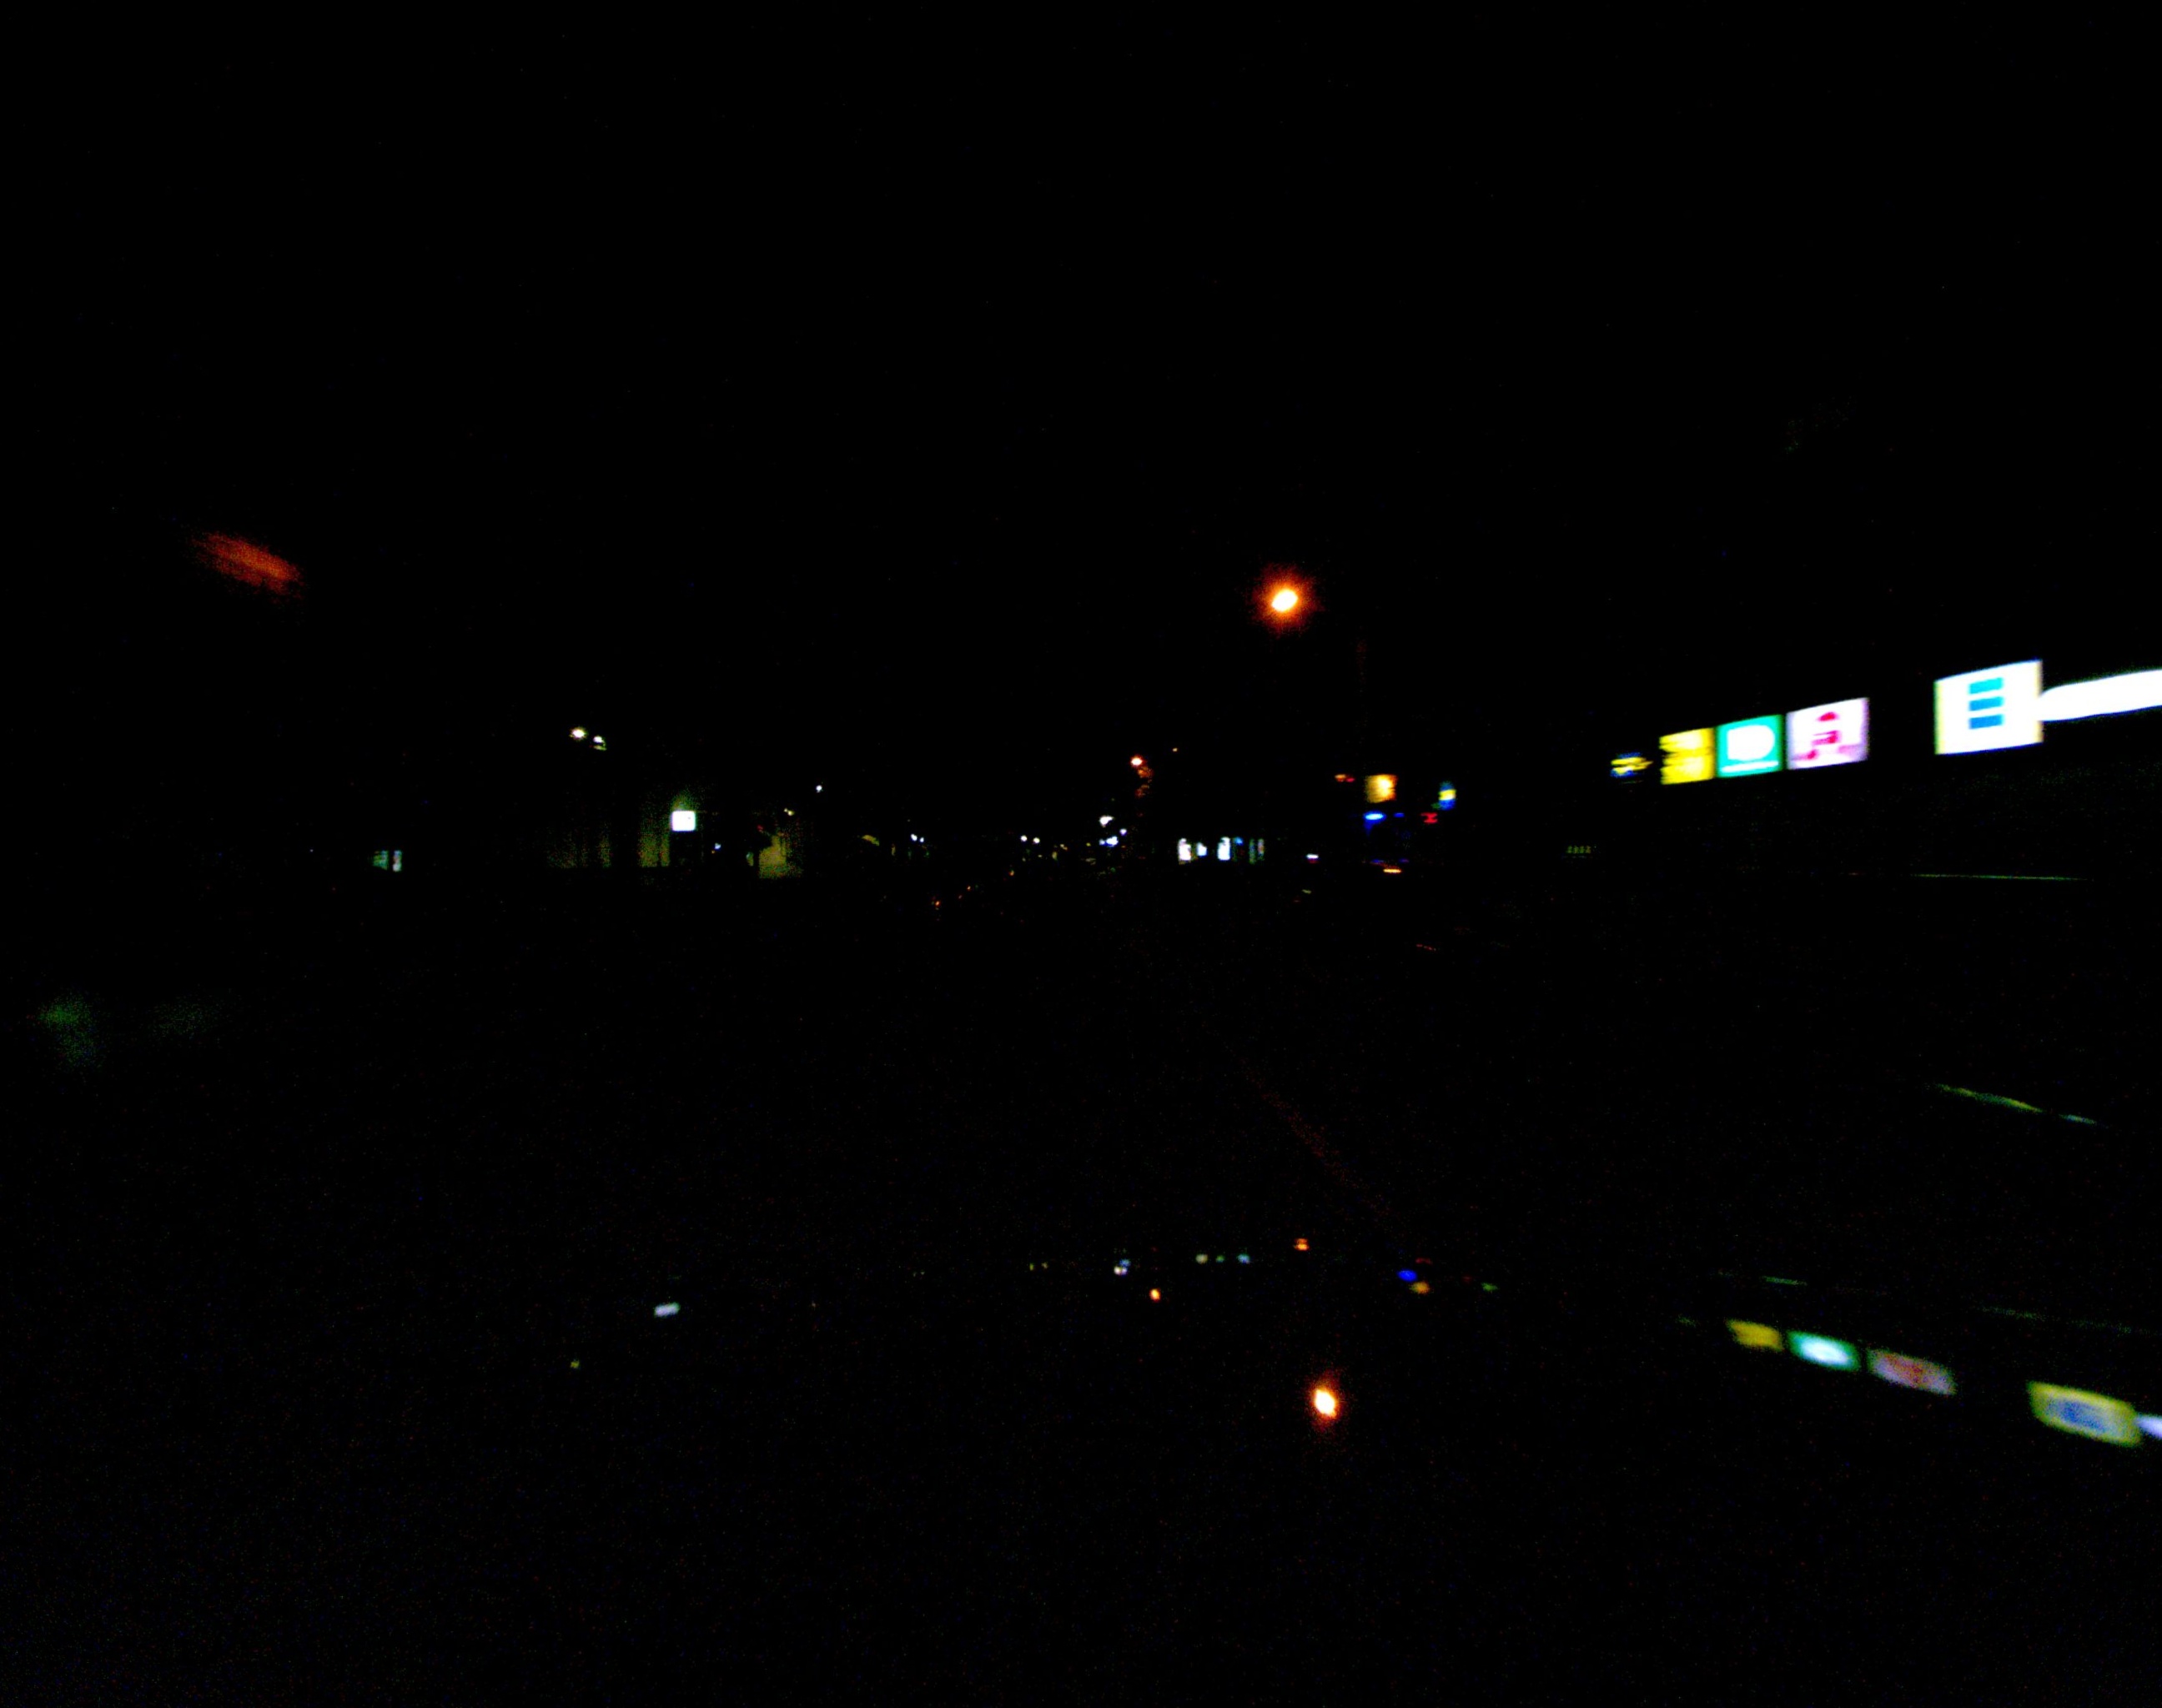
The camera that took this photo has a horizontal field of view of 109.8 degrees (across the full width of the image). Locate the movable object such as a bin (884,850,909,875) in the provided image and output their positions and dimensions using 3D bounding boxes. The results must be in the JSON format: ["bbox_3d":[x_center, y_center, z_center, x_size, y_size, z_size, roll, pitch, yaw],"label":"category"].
[{"bbox_3d":[-10.448,0.461,43.075,1.164,1.363,0.993,-1,1,-3],"label":"movable object such as a bin"}]

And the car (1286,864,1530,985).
[{"bbox_3d":[4.730,0.916,11.809,1.746,1.405,4.494,-1,0,-1],"label":"car"}]

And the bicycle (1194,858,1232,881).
[{"bbox_3d":[6.729,0.794,38.705,1.856,1.159,0.532,0,1,-2],"label":"bicycle"}]

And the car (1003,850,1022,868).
[{"bbox_3d":[-7.072,0.464,78.367,1.794,1.811,4.578,0,0,-3],"label":"car"}]

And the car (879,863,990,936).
[{"bbox_3d":[-3.267,0.960,17.842,1.769,1.406,4.806,0,0,-1],"label":"car"}]

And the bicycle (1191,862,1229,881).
[{"bbox_3d":[6.673,0.912,39.267,1.856,0.962,0.501,0,1,-2],"label":"bicycle"}]

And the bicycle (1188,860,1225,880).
[{"bbox_3d":[6.758,0.862,40.879,1.856,1.029,0.532,-2,1,-2],"label":"bicycle"}]

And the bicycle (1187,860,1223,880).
[{"bbox_3d":[6.801,0.882,41.663,1.856,0.994,0.532,-2,1,-2],"label":"bicycle"}]

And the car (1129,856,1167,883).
[{"bbox_3d":[3.882,0.880,44.633,1.726,1.420,3.975,-2,0,-2],"label":"car"}]

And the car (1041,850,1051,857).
[{"bbox_3d":[-7.963,-0.167,173.767,1.737,1.493,4.001,0,0,3],"label":"car"}]

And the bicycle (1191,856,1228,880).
[{"bbox_3d":[6.810,0.762,40.247,1.856,1.246,0.532,0,1,-2],"label":"bicycle"}]

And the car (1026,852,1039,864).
[{"bbox_3d":[-7.769,0.653,122.403,1.913,1.792,4.935,0,0,-3],"label":"car"}]

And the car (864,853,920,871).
[{"bbox_3d":[-15.997,0.672,64.394,4.327,1.523,1.802,0,2,-3],"label":"car"}]

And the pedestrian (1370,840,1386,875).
[{"bbox_3d":[14.118,0.174,36.108,0.479,1.627,0.632,0,1,-1],"label":"pedestrian"}]

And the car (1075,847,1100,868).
[{"bbox_3d":[0.677,0.366,80.462,1.858,2.075,5.086,-3,1,-7],"label":"car"}]

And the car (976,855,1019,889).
[{"bbox_3d":[-3.932,0.818,36.373,1.694,1.528,4.015,0,0,-1],"label":"car"}]

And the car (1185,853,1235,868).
[{"bbox_3d":[12.165,0.613,71.683,4.340,1.389,1.803,-1,0,-3],"label":"car"}]

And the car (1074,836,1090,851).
[{"bbox_3d":[0.172,-1.419,107.013,1.930,1.954,5.075,-2,0,-3],"label":"car"}]

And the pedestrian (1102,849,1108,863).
[{"bbox_3d":[3.049,0.229,97.027,0.720,1.795,0.716,0,1,-2],"label":"pedestrian"}]

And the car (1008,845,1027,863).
[{"bbox_3d":[-8.117,-0.005,96.969,2.141,2.313,5.147,0,0,-8],"label":"car"}]

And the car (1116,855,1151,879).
[{"bbox_3d":[3.416,0.822,50.218,1.811,1.417,4.920,-2,0,-2],"label":"car"}]

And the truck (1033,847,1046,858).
[{"bbox_3d":[-8.698,-0.326,158.257,2.110,2.230,6.288,0,0,3],"label":"truck"}]

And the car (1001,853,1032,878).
[{"bbox_3d":[-4.213,0.715,50.153,1.775,1.528,4.215,1,0,-1],"label":"car"}]
